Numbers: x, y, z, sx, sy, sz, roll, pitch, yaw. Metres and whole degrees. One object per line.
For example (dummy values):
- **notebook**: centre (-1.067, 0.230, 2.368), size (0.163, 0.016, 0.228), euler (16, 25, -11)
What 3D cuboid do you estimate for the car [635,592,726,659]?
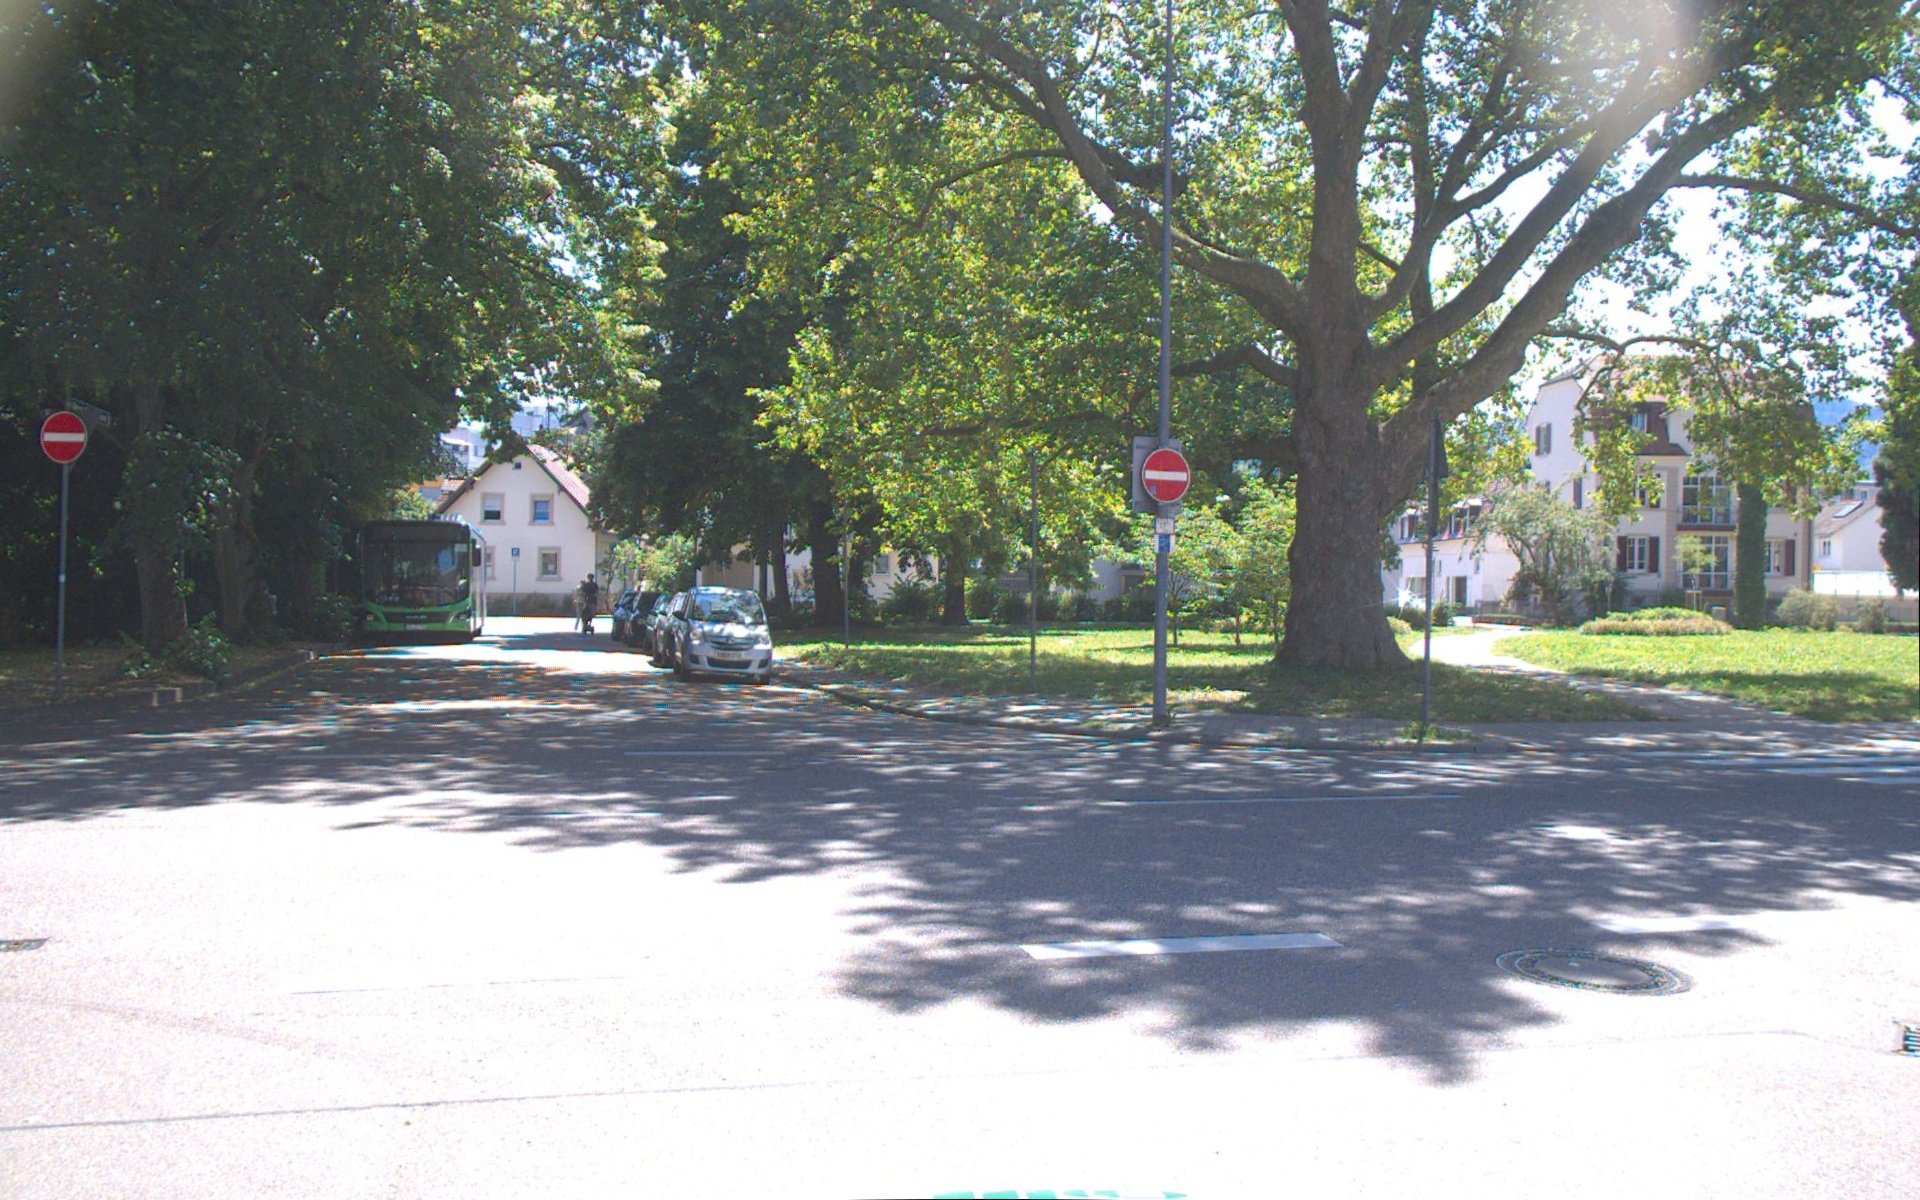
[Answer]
- **car**: centre (-6.750, 0.563, 39.584), size (1.721, 1.464, 4.751), euler (0, 0, -15)

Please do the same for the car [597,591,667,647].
- **car**: centre (-9.579, 0.517, 48.133), size (1.725, 1.519, 3.902), euler (0, 1, -15)

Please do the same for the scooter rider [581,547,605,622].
- **scooter rider**: centre (-11.733, -0.501, 52.824), size (0.726, 2.358, 0.923), euler (0, 0, -14)

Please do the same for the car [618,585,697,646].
- **car**: centre (-8.122, 0.375, 44.115), size (1.725, 1.519, 4.358), euler (0, 1, -15)

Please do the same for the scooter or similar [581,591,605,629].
- **scooter or similar**: centre (-11.736, 0.313, 52.818), size (0.726, 1.203, 1.514), euler (0, 1, -14)

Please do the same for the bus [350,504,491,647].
- **bus**: centre (-14.908, -0.648, 46.757), size (2.820, 3.352, 15.889), euler (0, 1, -15)

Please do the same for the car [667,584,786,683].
- **car**: centre (-3.985, 0.525, 27.877), size (1.568, 1.523, 3.472), euler (2, 0, -15)

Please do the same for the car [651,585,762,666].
- **car**: centre (-5.143, 0.468, 33.129), size (1.721, 1.464, 4.485), euler (2, 0, -15)

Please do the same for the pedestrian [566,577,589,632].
- **pedestrian**: centre (-12.882, 0.132, 55.694), size (0.706, 1.833, 0.939), euler (0, 0, -9)

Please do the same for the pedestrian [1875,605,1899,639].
- **pedestrian**: centre (39.483, 0.925, 70.435), size (0.810, 1.394, 0.616), euler (3, 3, 35)
